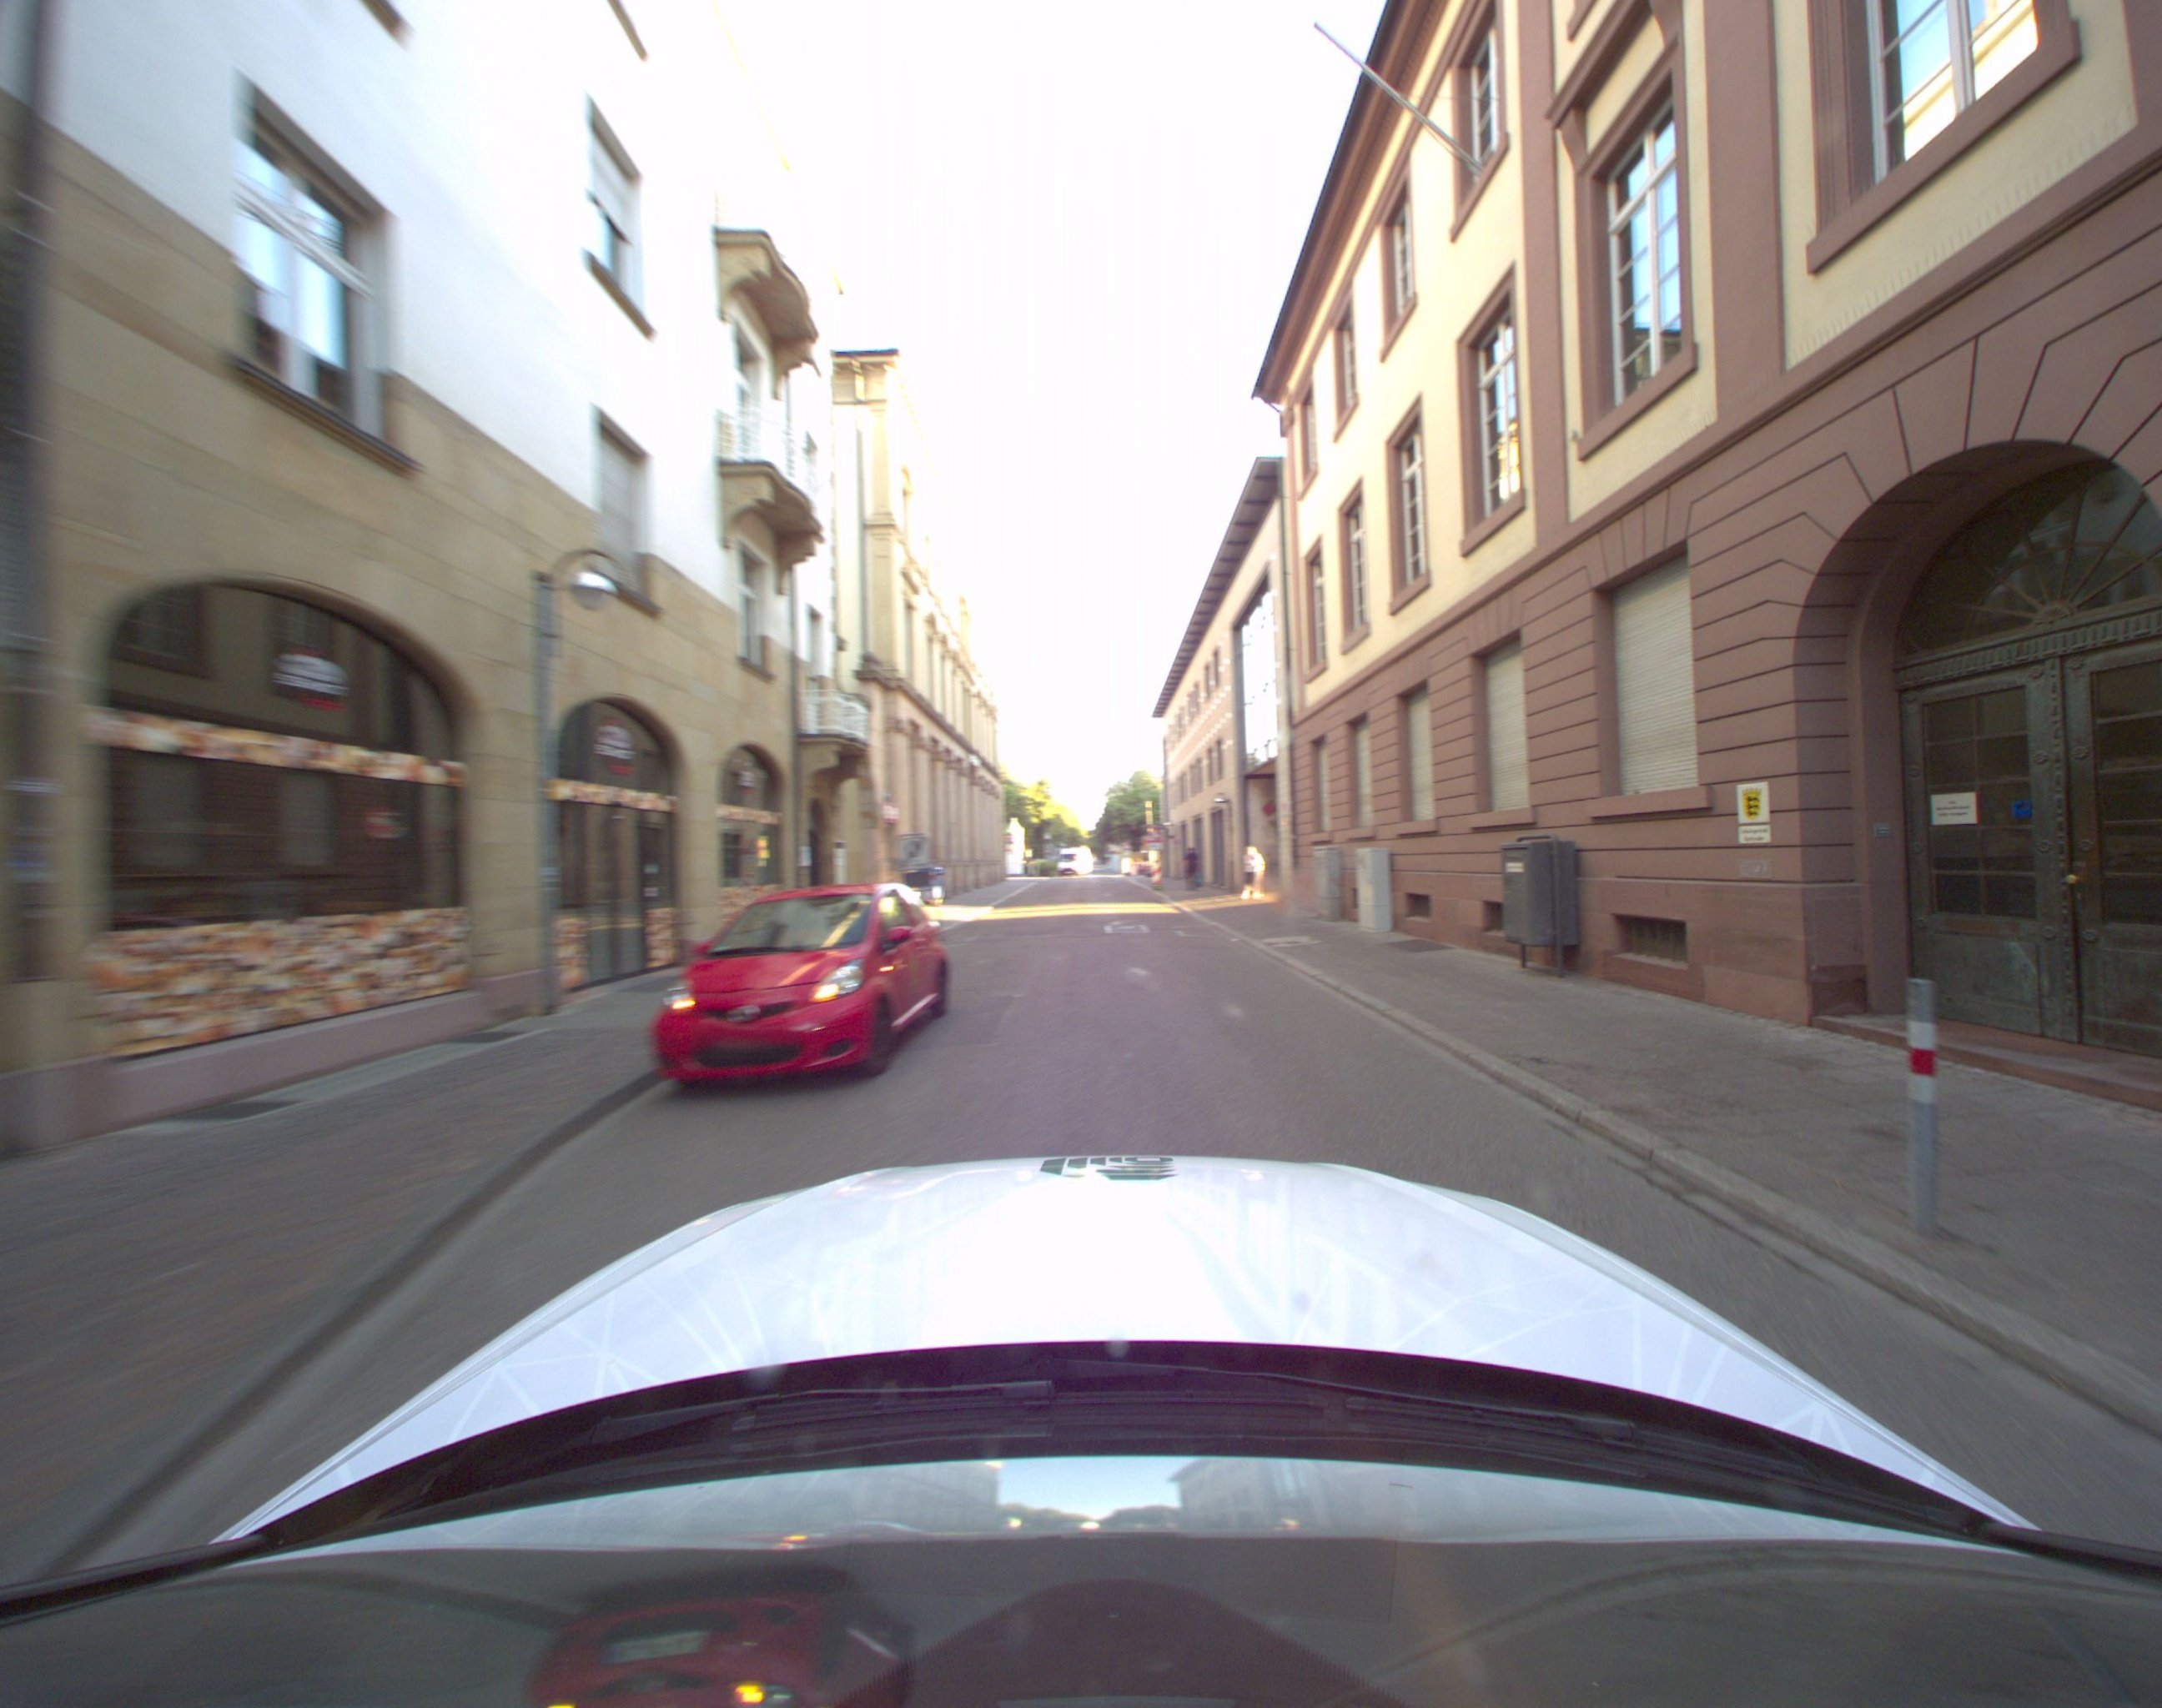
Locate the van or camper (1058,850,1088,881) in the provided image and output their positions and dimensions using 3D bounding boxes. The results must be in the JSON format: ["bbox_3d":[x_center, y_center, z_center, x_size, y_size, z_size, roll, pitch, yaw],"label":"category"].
[{"bbox_3d":[-0.646,0.983,71.969,2.210,2.585,6.377,-2,0,3],"label":"van or camper"}]

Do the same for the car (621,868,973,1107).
[{"bbox_3d":[-2.206,0.942,7.525,1.651,1.469,3.933,-5,-1,2],"label":"car"}]

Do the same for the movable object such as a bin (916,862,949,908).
[{"bbox_3d":[-5.133,1.049,28.162,0.826,1.503,1.291,-1,0,1],"label":"movable object such as a bin"}]

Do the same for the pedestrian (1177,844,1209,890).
[{"bbox_3d":[4.644,0.541,33.773,0.998,1.803,0.881,-6,-2,-1],"label":"pedestrian"}]

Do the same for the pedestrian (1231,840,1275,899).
[{"bbox_3d":[5.493,0.491,26.009,0.902,1.803,0.838,-4,-2,-41],"label":"pedestrian"}]
